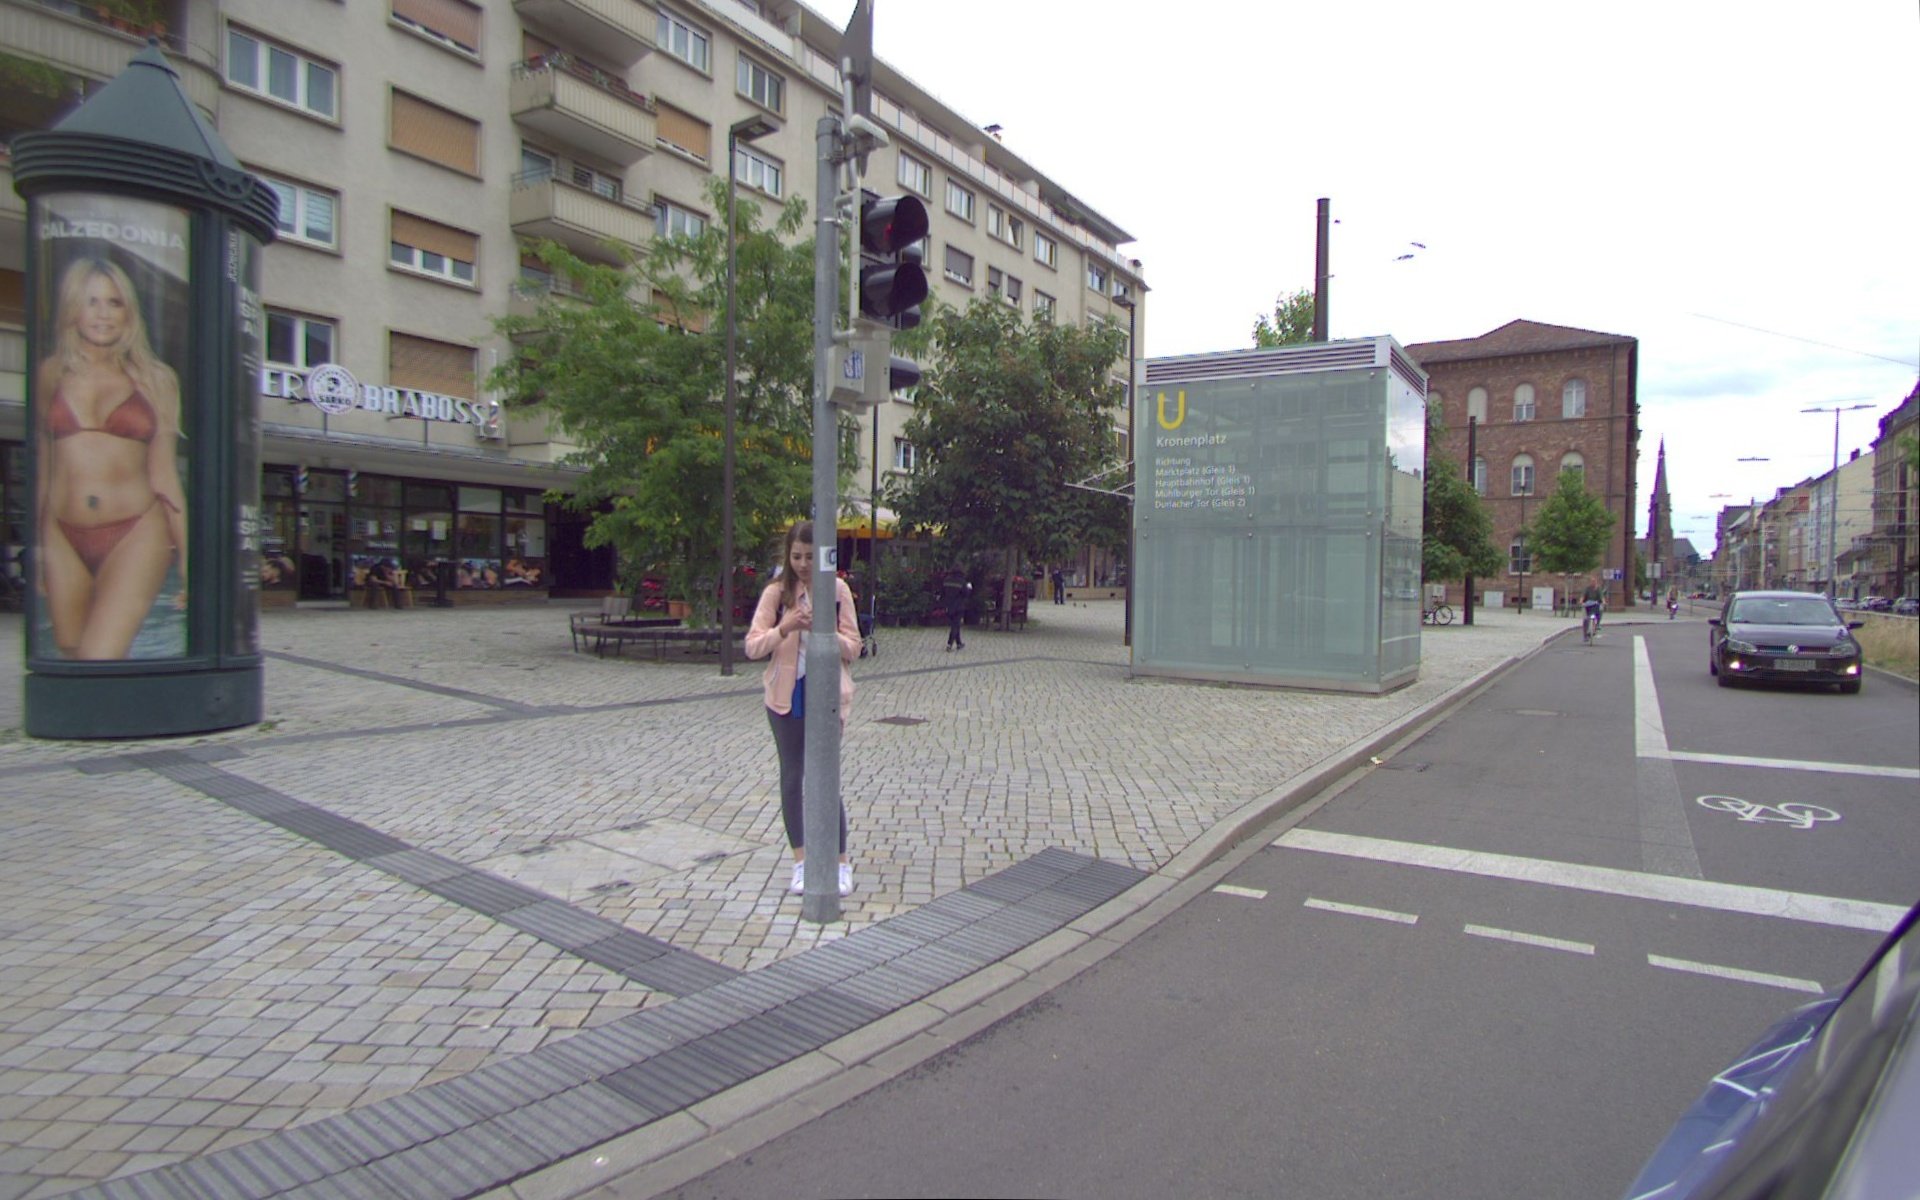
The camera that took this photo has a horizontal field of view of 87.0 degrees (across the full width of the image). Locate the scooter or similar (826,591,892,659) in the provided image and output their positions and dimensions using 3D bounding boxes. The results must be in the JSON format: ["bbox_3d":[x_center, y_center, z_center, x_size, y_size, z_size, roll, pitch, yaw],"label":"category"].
[{"bbox_3d":[-1.628,0.374,16.067,0.709,0.960,1.596,1,2,-17],"label":"scooter or similar"}]

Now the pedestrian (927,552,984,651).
[{"bbox_3d":[-0.071,0.009,18.173,0.622,1.705,0.861,3,2,30],"label":"pedestrian"}]

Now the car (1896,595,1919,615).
[{"bbox_3d":[75.383,0.385,79.681,1.737,1.552,4.174,3,2,33],"label":"car"}]

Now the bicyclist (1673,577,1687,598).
[{"bbox_3d":[40.501,-0.706,56.927,0.583,1.186,0.654,1,1,34],"label":"bicyclist"}]

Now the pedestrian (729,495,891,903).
[{"bbox_3d":[-0.702,0.428,4.808,0.519,1.784,0.596,0,0,27],"label":"pedestrian"}]

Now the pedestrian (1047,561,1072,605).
[{"bbox_3d":[4.156,-0.712,42.354,0.702,1.773,0.778,2,2,-17],"label":"pedestrian"}]

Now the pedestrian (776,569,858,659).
[{"bbox_3d":[-2.244,0.195,15.851,1.043,1.313,0.722,4,2,40],"label":"pedestrian"}]

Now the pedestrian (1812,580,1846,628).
[{"bbox_3d":[35.540,0.164,41.388,0.866,1.925,0.764,3,1,33],"label":"pedestrian"}]

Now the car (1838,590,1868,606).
[{"bbox_3d":[91.407,-0.218,103.599,1.737,1.483,3.997,3,2,34],"label":"car"}]

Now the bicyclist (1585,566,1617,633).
[{"bbox_3d":[16.530,-0.024,26.093,0.568,1.705,0.782,1,1,40],"label":"bicyclist"}]

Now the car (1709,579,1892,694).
[{"bbox_3d":[12.941,0.466,15.807,1.736,1.566,3.608,1,1,33],"label":"car"}]

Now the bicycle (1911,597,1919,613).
[{"bbox_3d":[72.806,0.431,75.675,2.276,1.218,0.696,4,2,36],"label":"bicycle"}]

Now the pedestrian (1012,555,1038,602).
[{"bbox_3d":[2.682,-0.886,41.882,0.834,1.909,0.777,0,0,-17],"label":"pedestrian"}]

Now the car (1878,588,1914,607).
[{"bbox_3d":[81.244,-0.200,87.894,1.738,1.507,3.871,3,2,35],"label":"car"}]

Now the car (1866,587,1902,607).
[{"bbox_3d":[83.793,-0.261,91.840,1.737,1.693,3.997,3,2,34],"label":"car"}]

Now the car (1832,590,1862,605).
[{"bbox_3d":[94.179,-0.258,107.506,1.818,1.540,4.488,3,1,34],"label":"car"}]

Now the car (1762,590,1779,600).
[{"bbox_3d":[132.995,-0.799,166.101,1.857,1.582,3.951,4,2,34],"label":"car"}]

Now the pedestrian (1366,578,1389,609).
[{"bbox_3d":[20.672,-0.338,50.148,0.766,1.473,0.768,3,2,5],"label":"pedestrian"}]

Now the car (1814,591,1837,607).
[{"bbox_3d":[105.313,-0.158,123.200,1.698,1.778,3.869,3,2,36],"label":"car"}]

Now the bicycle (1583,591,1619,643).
[{"bbox_3d":[16.553,0.424,26.129,0.522,1.276,1.913,1,1,40],"label":"bicycle"}]

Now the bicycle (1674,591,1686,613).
[{"bbox_3d":[40.461,0.098,56.886,0.469,1.173,2.245,1,1,34],"label":"bicycle"}]

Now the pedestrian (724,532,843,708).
[{"bbox_3d":[-1.944,0.187,11.202,0.711,1.824,1.065,4,3,33],"label":"pedestrian"}]

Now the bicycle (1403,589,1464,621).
[{"bbox_3d":[17.383,0.180,37.174,0.634,1.137,1.915,0,0,-44],"label":"bicycle"}]
